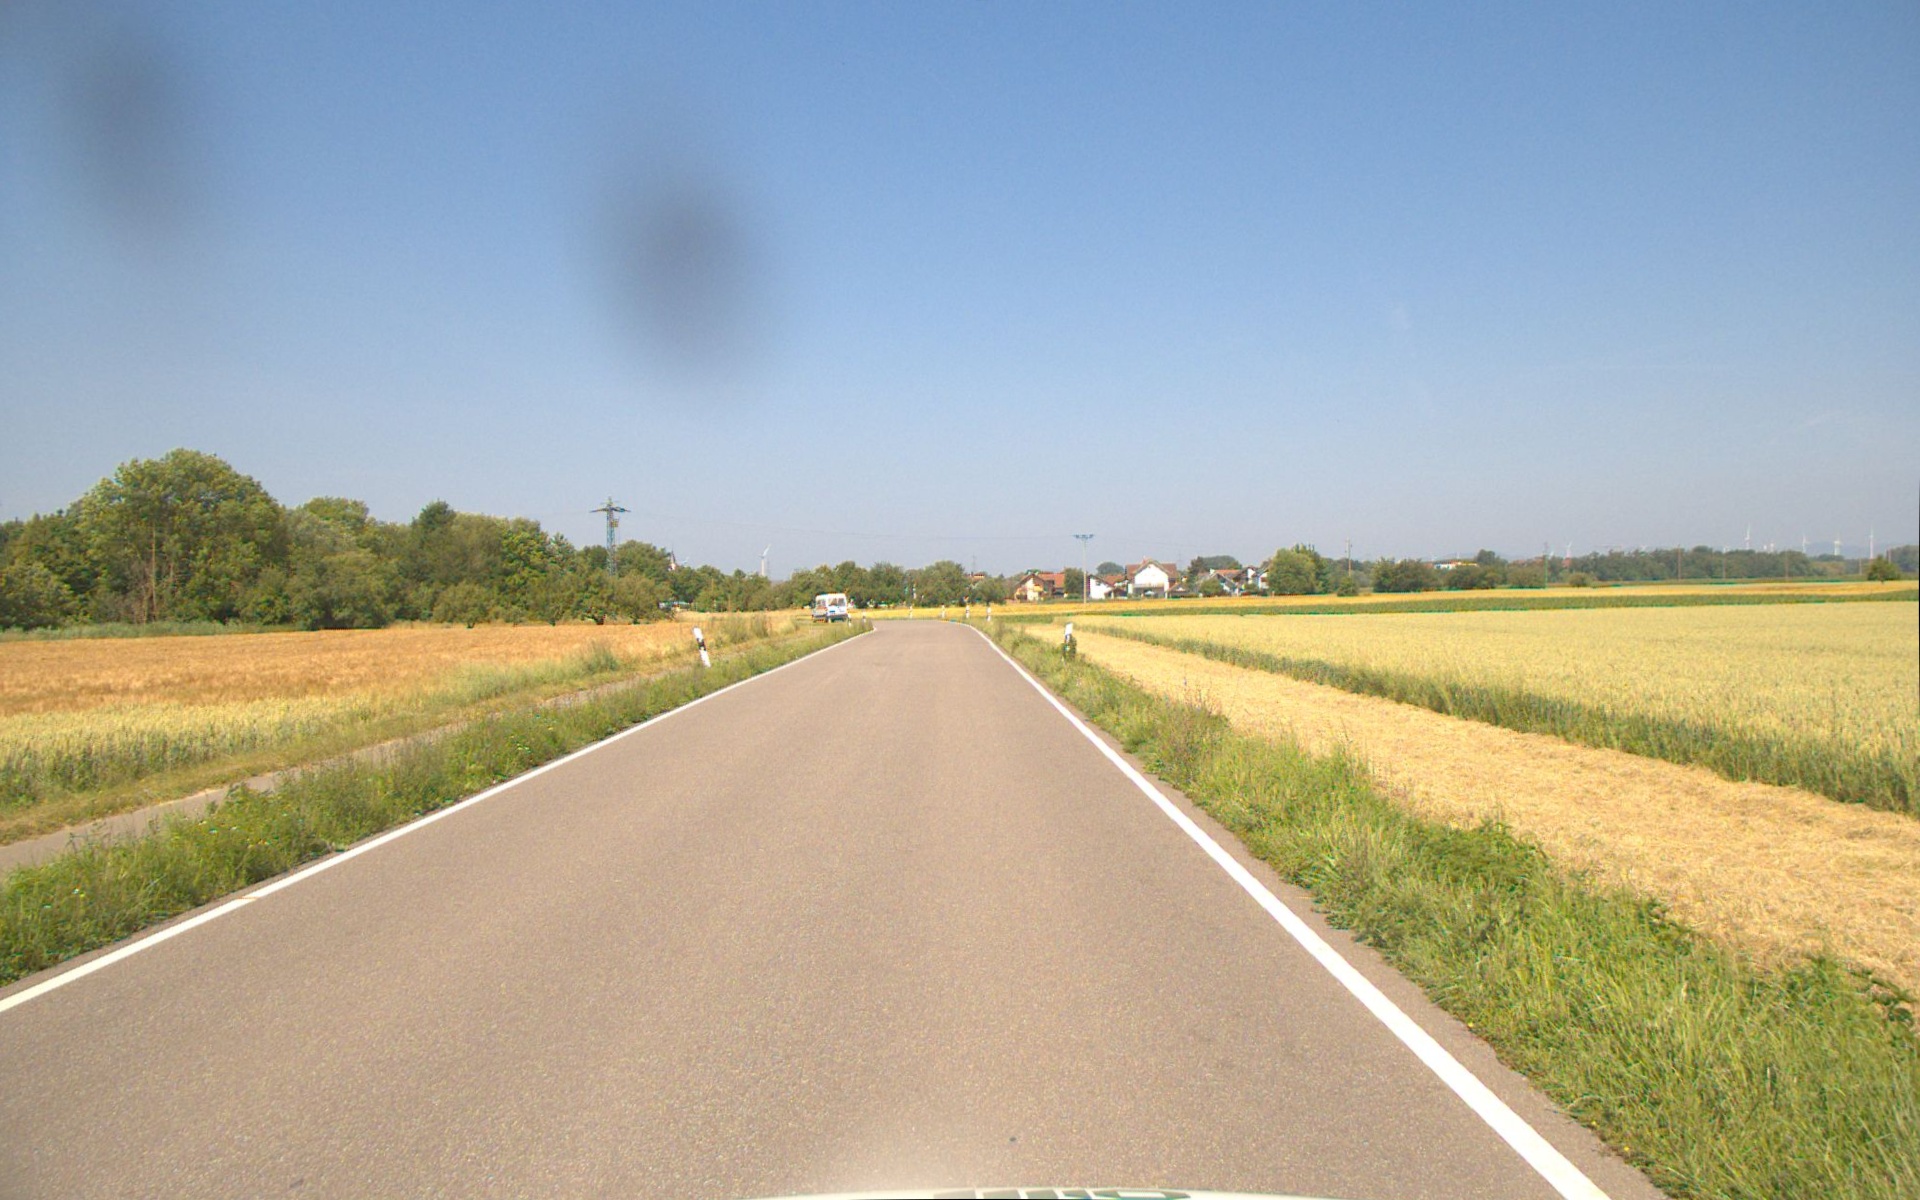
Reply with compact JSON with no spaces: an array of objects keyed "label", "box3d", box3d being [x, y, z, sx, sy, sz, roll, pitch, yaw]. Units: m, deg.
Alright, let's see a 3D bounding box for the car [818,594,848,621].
[{"label":"car","box3d":[-11.374,0.687,147.716,2.069,2.344,5.481,1,0,-11]}]
